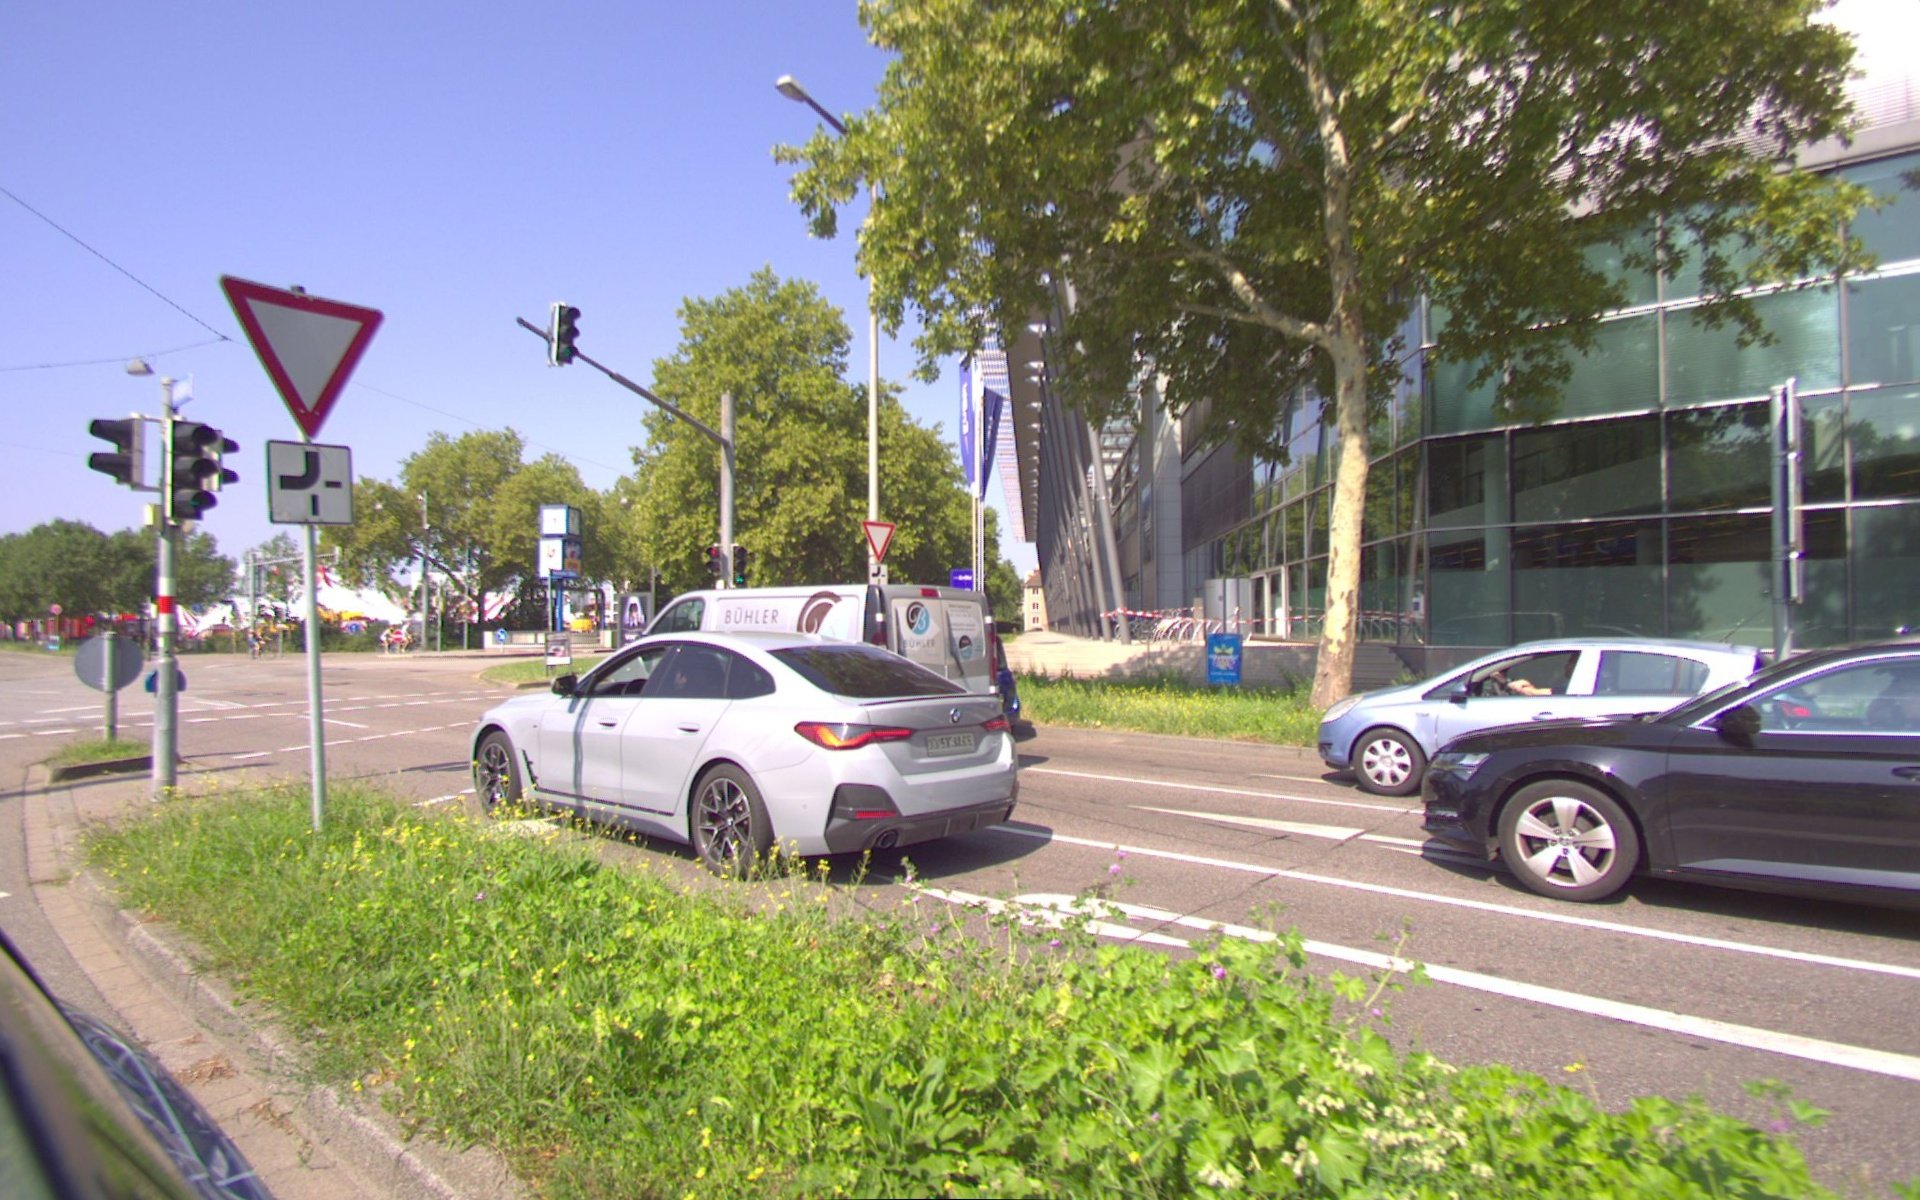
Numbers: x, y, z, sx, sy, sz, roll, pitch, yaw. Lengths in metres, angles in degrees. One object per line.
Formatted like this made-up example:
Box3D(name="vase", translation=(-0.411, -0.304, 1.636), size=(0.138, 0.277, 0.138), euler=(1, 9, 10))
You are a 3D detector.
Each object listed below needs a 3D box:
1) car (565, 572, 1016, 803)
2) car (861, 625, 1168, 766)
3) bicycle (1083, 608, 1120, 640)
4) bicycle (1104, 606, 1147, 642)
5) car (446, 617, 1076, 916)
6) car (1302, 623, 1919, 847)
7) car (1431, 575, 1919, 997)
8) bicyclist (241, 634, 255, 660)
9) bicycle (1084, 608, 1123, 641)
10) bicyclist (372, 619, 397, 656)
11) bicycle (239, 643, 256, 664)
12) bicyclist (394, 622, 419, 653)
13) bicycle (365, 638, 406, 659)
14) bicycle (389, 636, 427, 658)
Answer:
Box3D(name="car", translation=(-2.057, 0.860, 11.075), size=(5.206, 1.973, 1.908), euler=(-3, -3, 39))
Box3D(name="car", translation=(0.615, 1.133, 13.006), size=(3.728, 1.547, 1.650), euler=(-2, -4, 41))
Box3D(name="bicycle", translation=(9.664, 1.654, 69.128), size=(2.388, 2.029, 0.689), euler=(-3, -2, 5))
Box3D(name="bicycle", translation=(9.905, 1.454, 60.555), size=(2.388, 2.029, 0.689), euler=(-3, -2, 5))
Box3D(name="car", translation=(-1.622, 0.902, 7.119), size=(4.601, 1.454, 1.817), euler=(-1, -4, 39))
Box3D(name="car", translation=(5.442, 0.999, 8.968), size=(4.254, 1.522, 1.762), euler=(-1, -4, 39))
Box3D(name="car", translation=(5.038, 0.858, 4.938), size=(4.700, 1.863, 1.699), euler=(-1, -4, 41))
Box3D(name="bicyclist", translation=(-38.814, 2.587, 55.178), size=(0.494, 1.375, 0.699), euler=(-2, -2, -28))
Box3D(name="bicycle", translation=(9.424, 1.600, 66.583), size=(2.388, 2.029, 0.689), euler=(-3, -2, 5))
Box3D(name="bicyclist", translation=(-32.088, 2.094, 56.434), size=(1.197, 2.029, 0.593), euler=(-4, -2, 24))
Box3D(name="bicycle", translation=(-38.746, 2.919, 55.062), size=(0.563, 1.064, 1.498), euler=(-2, -2, -29))
Box3D(name="bicyclist", translation=(-29.731, 1.999, 54.361), size=(1.199, 1.606, 0.592), euler=(-4, -2, 29))
Box3D(name="bicycle", translation=(-32.039, 2.700, 56.423), size=(2.247, 1.096, 0.767), euler=(-3, -4, 22))
Box3D(name="bicycle", translation=(-29.610, 2.541, 54.275), size=(2.211, 1.096, 0.765), euler=(-4, -3, 30))
